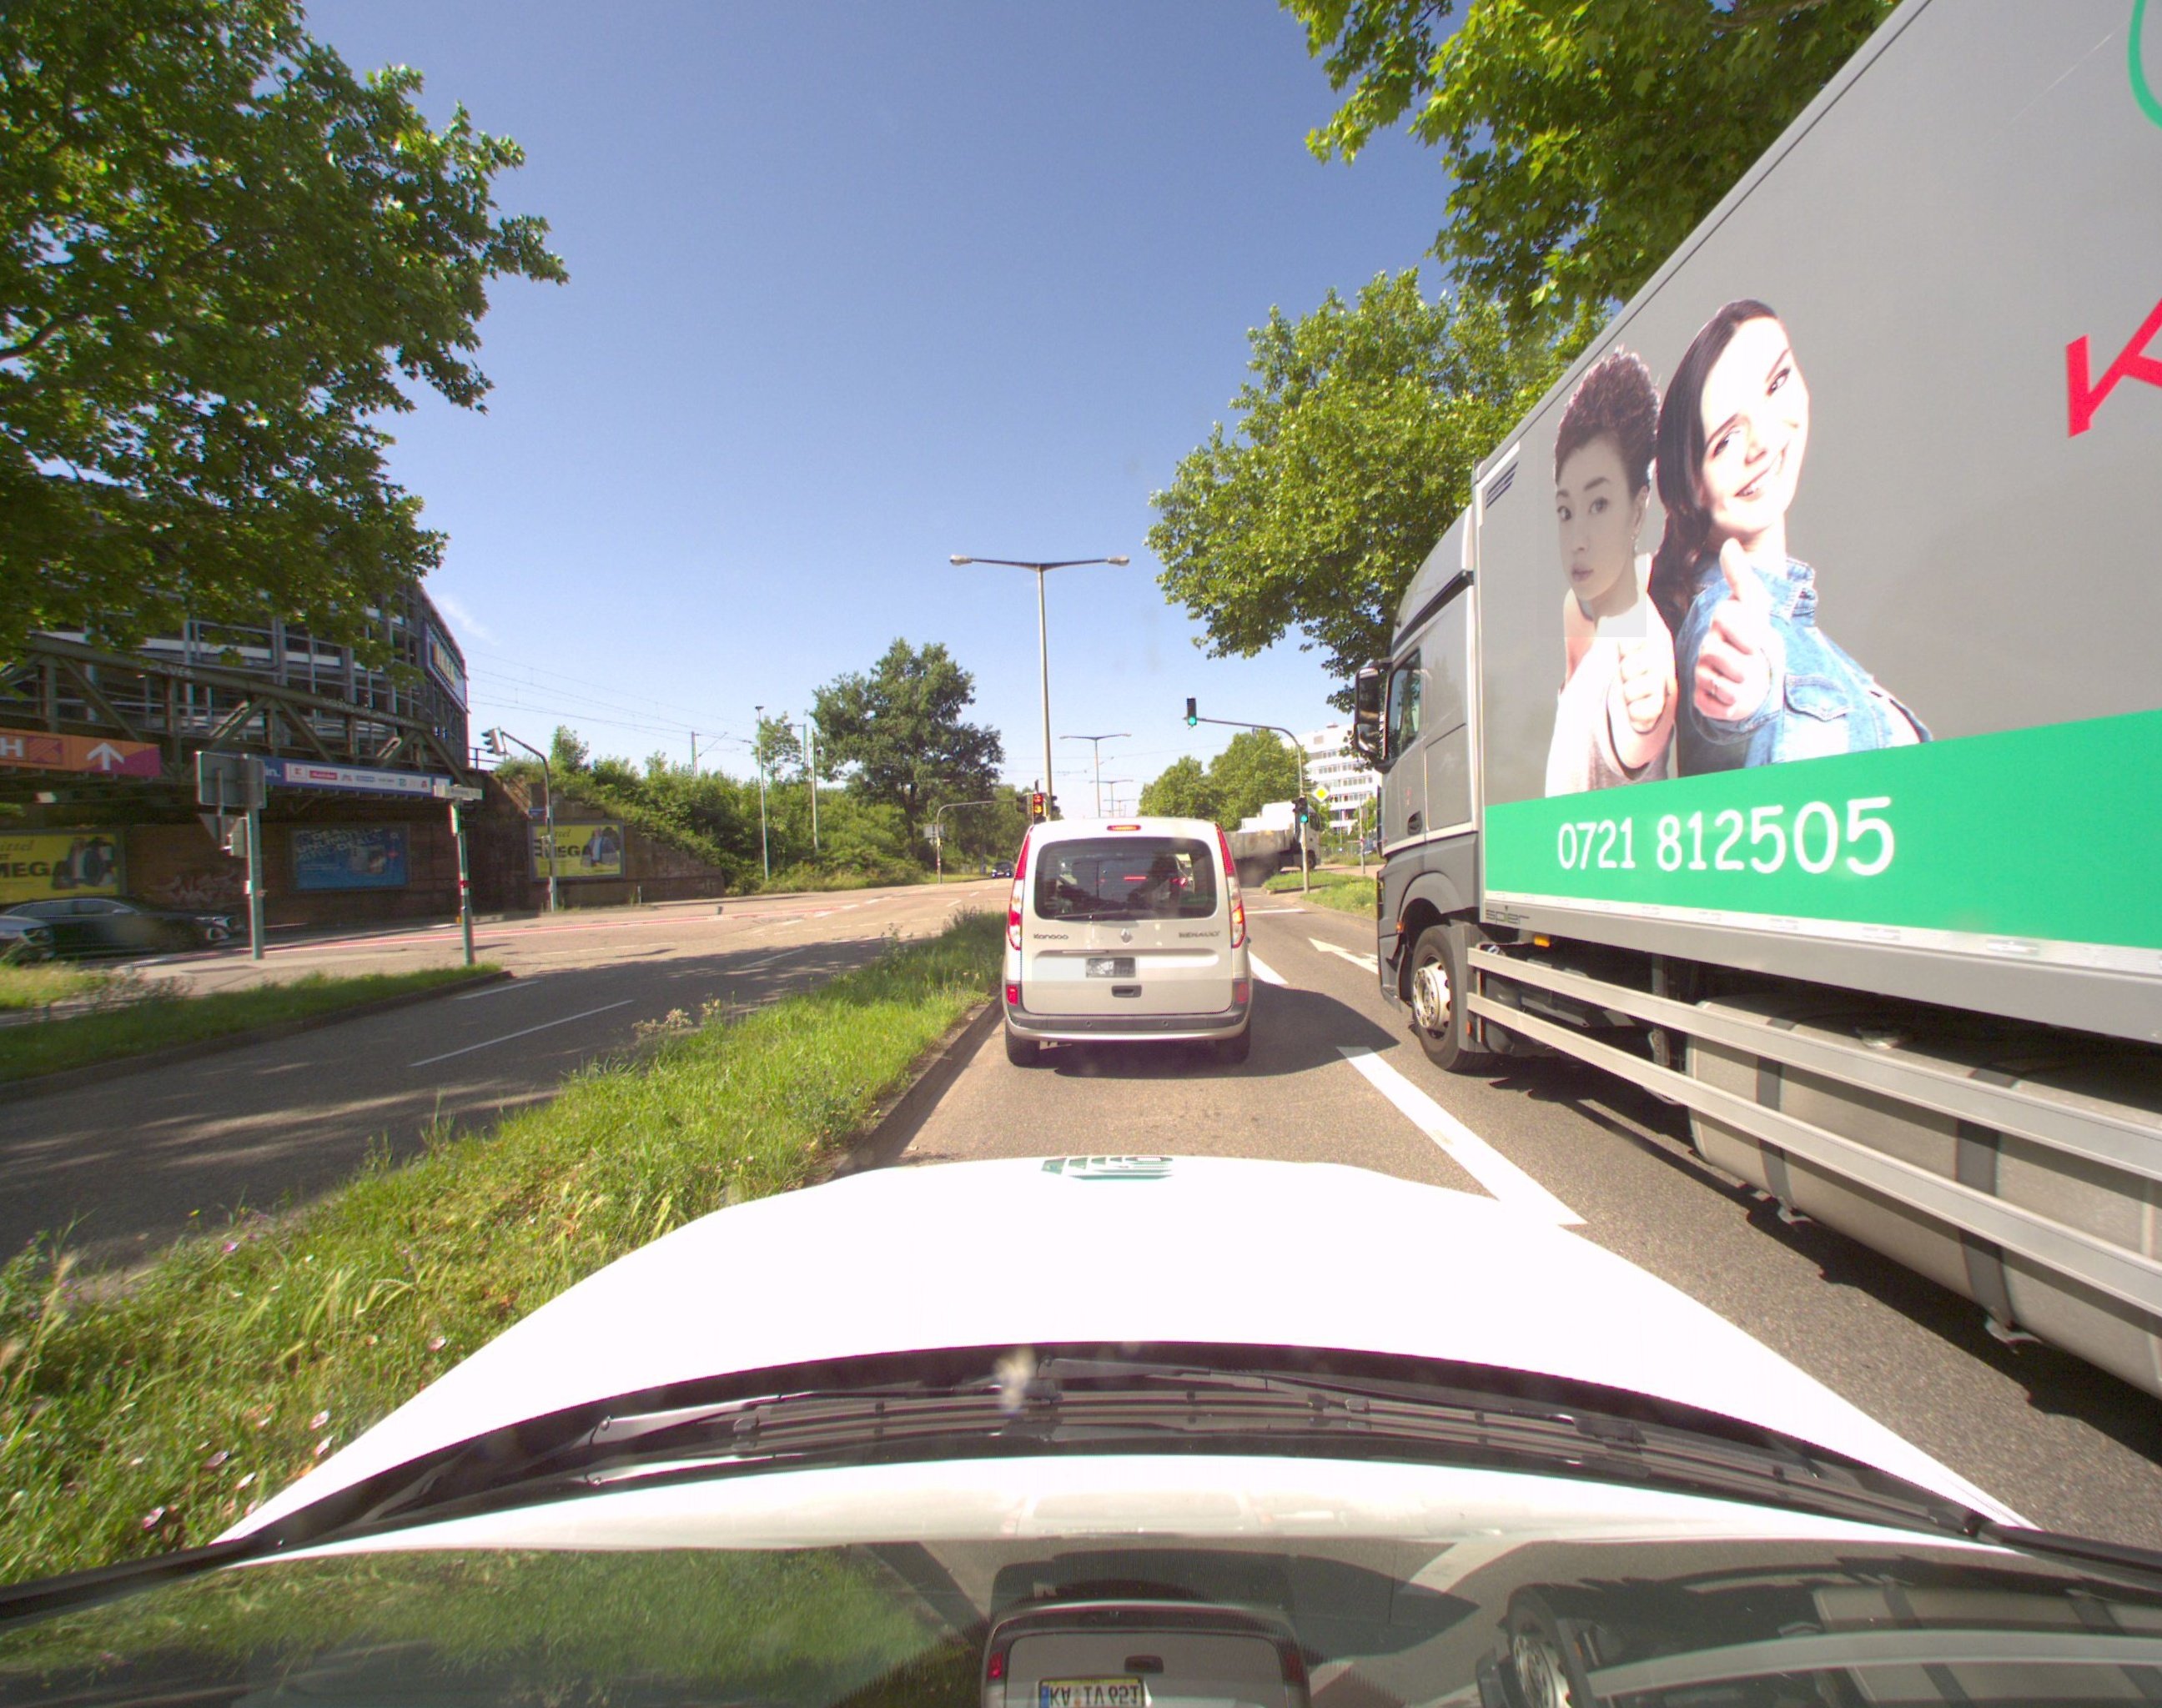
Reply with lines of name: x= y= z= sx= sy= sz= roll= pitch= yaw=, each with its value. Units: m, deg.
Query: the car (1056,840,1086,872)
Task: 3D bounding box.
car: x=-0.801 y=0.174 z=69.876 sx=1.984 sy=2.607 sz=5.140 roll=-3 pitch=-1 yaw=5

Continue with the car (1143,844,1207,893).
car: x=3.189 y=0.483 z=28.469 sx=1.868 sy=1.591 sz=4.435 roll=0 pitch=0 yaw=2

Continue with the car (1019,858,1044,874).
car: x=-5.112 y=1.189 z=84.735 sx=1.984 sy=1.540 sz=4.241 roll=-3 pitch=-1 yaw=5

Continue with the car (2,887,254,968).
car: x=-25.773 y=1.919 z=22.277 sx=4.015 sy=1.646 sz=1.885 roll=-4 pitch=1 yaw=-32

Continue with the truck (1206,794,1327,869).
truck: x=10.009 y=-1.088 z=43.520 sx=2.884 sy=3.643 sz=7.231 roll=-1 pitch=-1 yaw=45

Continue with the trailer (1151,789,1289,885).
trailer: x=6.793 y=-0.607 z=37.213 sx=2.873 sy=3.622 sz=12.759 roll=-1 pitch=-1 yaw=25

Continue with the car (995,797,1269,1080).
car: x=0.393 y=0.566 z=7.322 sx=1.779 sy=1.838 sz=4.001 roll=0 pitch=-1 yaw=2

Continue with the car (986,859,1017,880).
car: x=-6.606 y=1.247 z=67.902 sx=1.902 sy=1.641 sz=3.742 roll=-3 pitch=-1 yaw=5

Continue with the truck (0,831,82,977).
truck: x=-26.330 y=1.273 z=16.689 sx=6.890 sy=3.105 sz=2.196 roll=-4 pitch=1 yaw=-32

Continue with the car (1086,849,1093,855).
car: x=2.707 y=-0.565 z=250.297 sx=1.880 sy=2.014 sz=4.004 roll=0 pitch=-1 yaw=4

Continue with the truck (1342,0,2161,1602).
truck: x=3.395 y=-0.596 z=2.775 sx=2.717 sy=3.889 sz=8.732 roll=-2 pitch=-1 yaw=4
